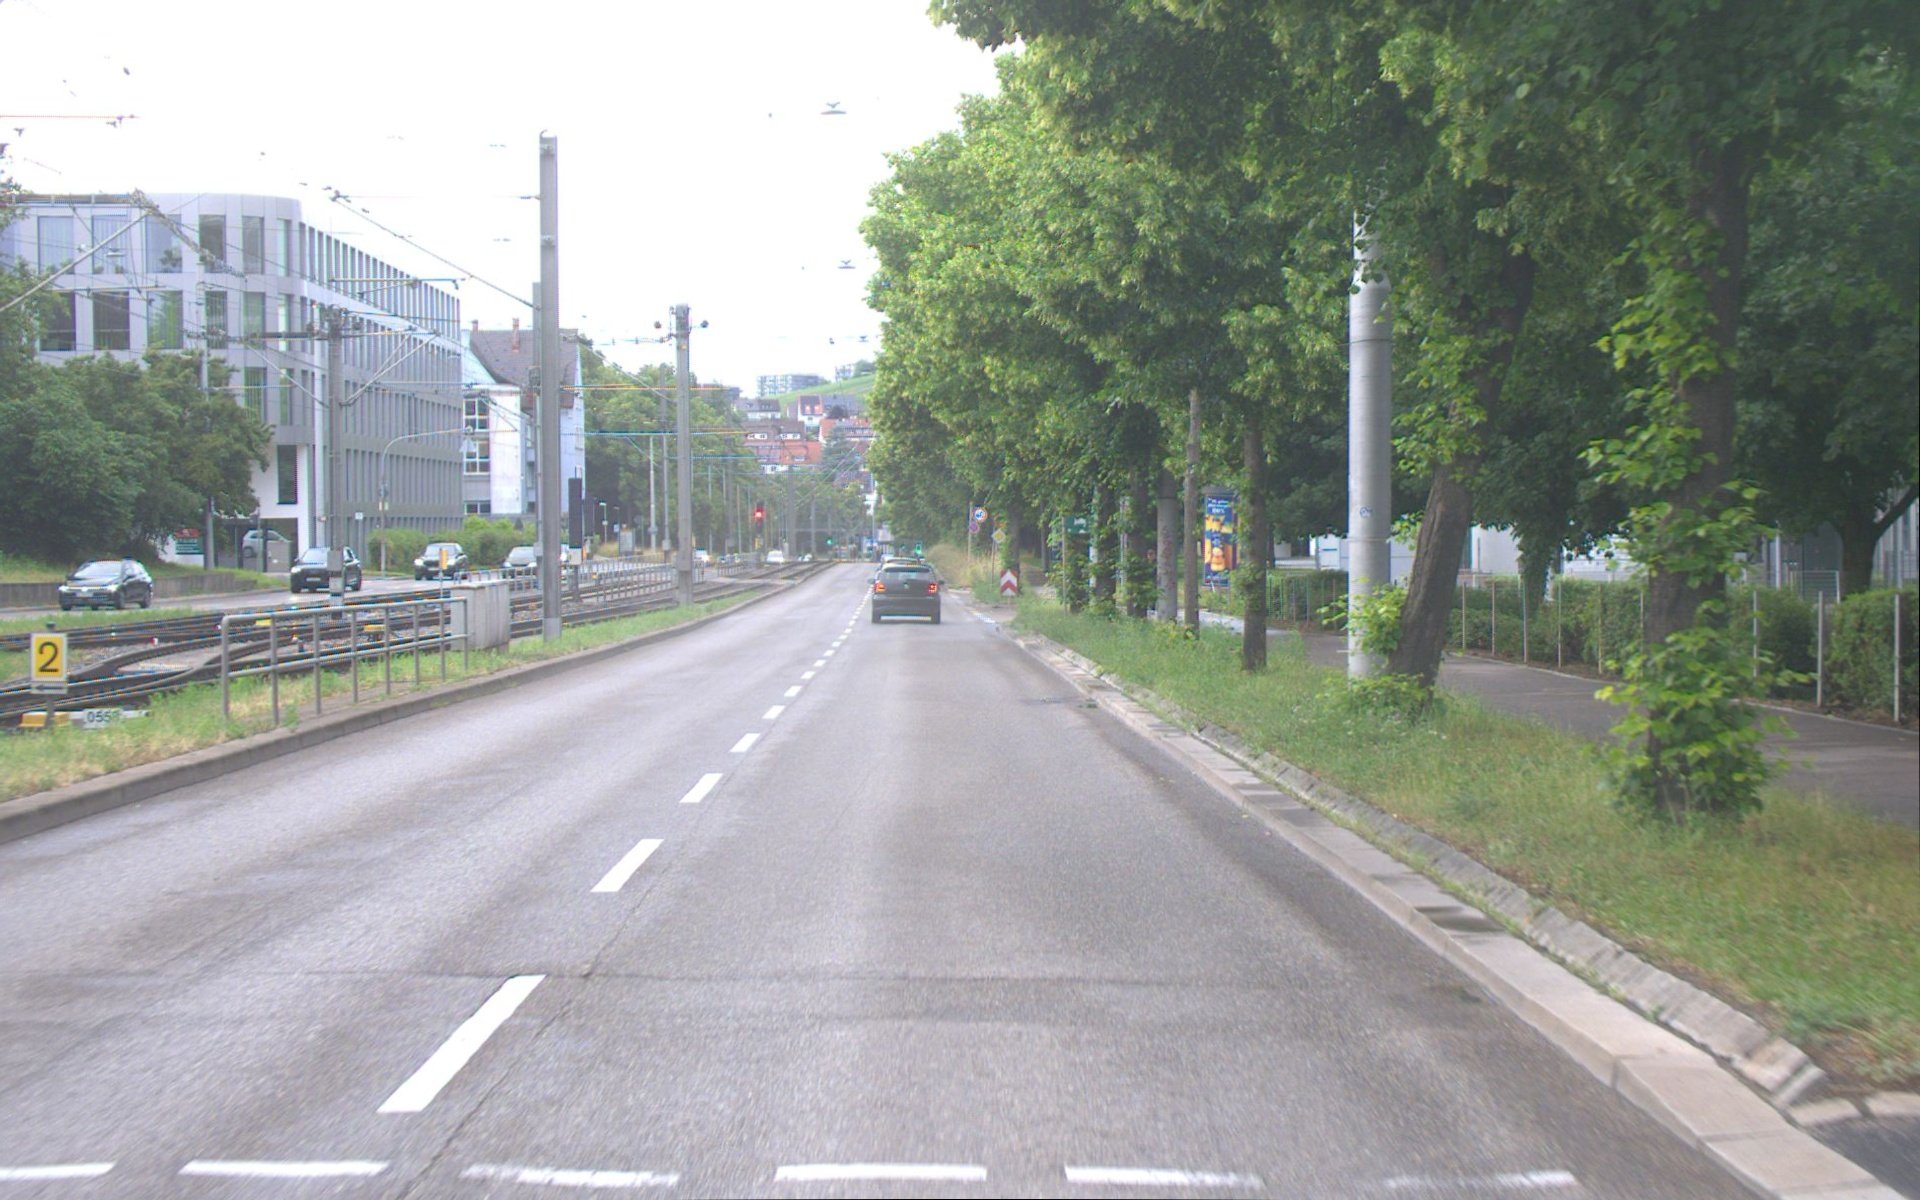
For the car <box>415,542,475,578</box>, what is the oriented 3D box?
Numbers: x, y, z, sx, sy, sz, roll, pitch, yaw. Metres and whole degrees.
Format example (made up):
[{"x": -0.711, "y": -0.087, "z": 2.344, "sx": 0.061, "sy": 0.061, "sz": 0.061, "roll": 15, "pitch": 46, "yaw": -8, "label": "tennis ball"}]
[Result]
[{"x": -23.167, "y": -1.816, "z": 154.902, "sx": 1.948, "sy": 1.590, "sz": 4.847, "roll": 0, "pitch": 1, "yaw": 0, "label": "car"}]

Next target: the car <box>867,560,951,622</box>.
[{"x": -1.235, "y": -0.242, "z": 83.665, "sx": 1.982, "sy": 1.436, "sz": 4.474, "roll": 0, "pitch": 1, "yaw": -1, "label": "car"}]

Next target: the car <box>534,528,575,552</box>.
[{"x": -23.097, "y": -3.419, "z": 196.013, "sx": 1.761, "sy": 1.392, "sz": 3.900, "roll": 0, "pitch": 1, "yaw": 2, "label": "car"}]

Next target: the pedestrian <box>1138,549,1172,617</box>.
[{"x": 5.177, "y": -0.458, "z": 91.301, "sx": 0.826, "sy": 1.791, "sz": 0.867, "roll": 1, "pitch": 0, "yaw": 0, "label": "pedestrian"}]

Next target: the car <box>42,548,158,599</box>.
[{"x": -24.990, "y": -0.792, "z": 100.060, "sx": 1.927, "sy": 1.442, "sz": 4.682, "roll": 0, "pitch": 1, "yaw": 3, "label": "car"}]

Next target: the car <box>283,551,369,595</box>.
[{"x": -23.722, "y": -1.039, "z": 128.788, "sx": 2.089, "sy": 1.583, "sz": 5.158, "roll": 0, "pitch": 1, "yaw": 2, "label": "car"}]

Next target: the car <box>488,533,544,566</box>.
[{"x": -20.776, "y": -2.365, "z": 161.046, "sx": 1.891, "sy": 1.481, "sz": 4.308, "roll": 0, "pitch": 1, "yaw": 2, "label": "car"}]
